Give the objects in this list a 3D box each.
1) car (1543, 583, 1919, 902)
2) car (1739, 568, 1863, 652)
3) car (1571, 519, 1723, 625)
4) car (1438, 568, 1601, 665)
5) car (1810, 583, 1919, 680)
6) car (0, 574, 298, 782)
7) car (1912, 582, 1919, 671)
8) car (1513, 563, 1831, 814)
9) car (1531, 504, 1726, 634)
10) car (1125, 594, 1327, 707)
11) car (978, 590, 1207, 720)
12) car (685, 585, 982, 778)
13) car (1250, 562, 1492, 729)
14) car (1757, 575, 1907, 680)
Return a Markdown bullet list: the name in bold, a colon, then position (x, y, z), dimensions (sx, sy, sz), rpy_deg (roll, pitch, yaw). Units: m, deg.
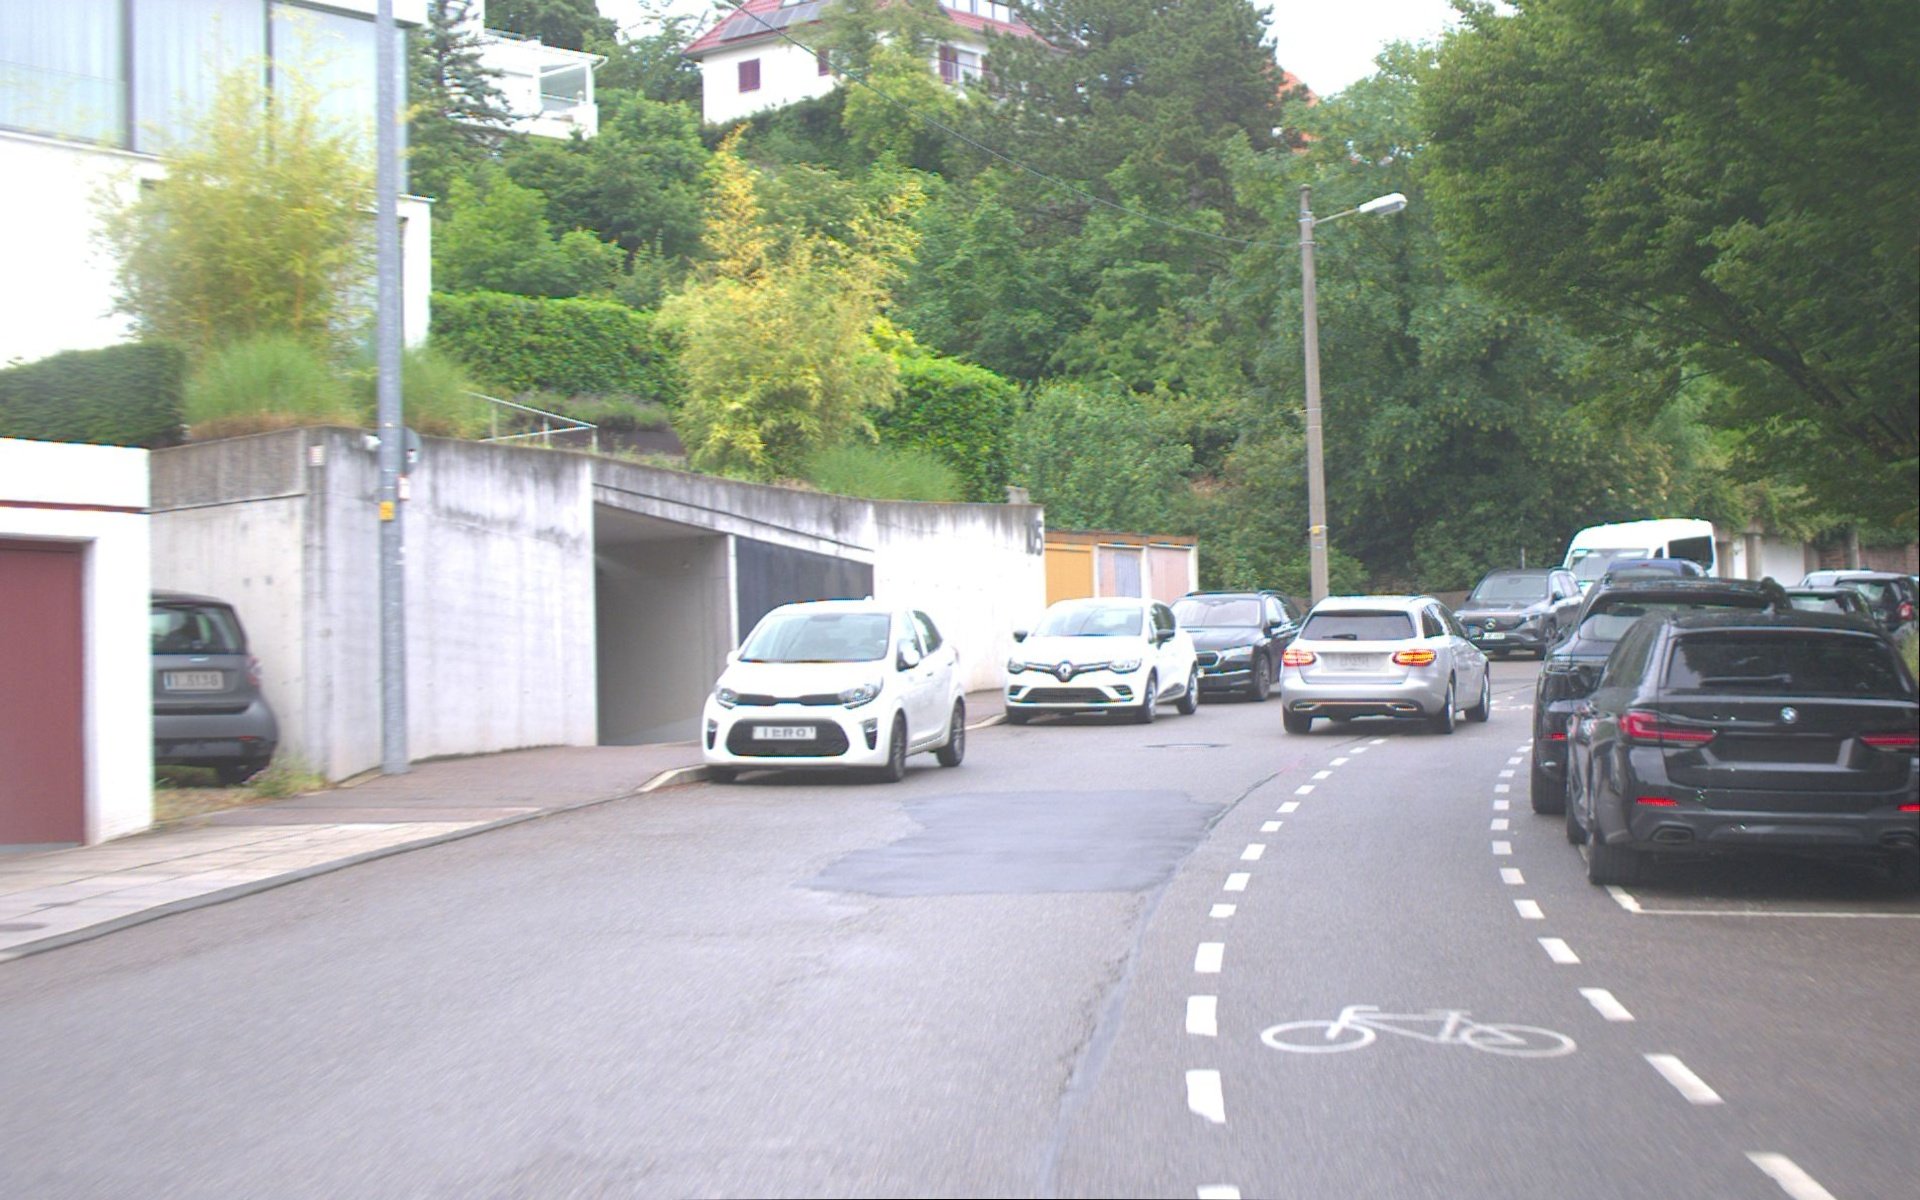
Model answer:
- **car**: position (4.390, 0.698, 19.493), dimensions (1.855, 1.575, 4.856), rpy_deg (0, 0, 6)
- **car**: position (17.501, 0.200, 71.424), dimensions (1.996, 1.702, 3.995), rpy_deg (0, 0, 21)
- **car**: position (11.522, -0.462, 57.480), dimensions (1.995, 1.702, 3.996), rpy_deg (0, 0, 19)
- **car**: position (10.482, 0.284, 64.151), dimensions (1.898, 1.685, 4.540), rpy_deg (-1, 0, 23)
- **car**: position (15.359, 0.505, 57.689), dimensions (1.628, 1.557, 3.018), rpy_deg (0, 1, 24)
- **car**: position (-7.240, 0.565, 27.392), dimensions (3.928, 1.473, 1.764), rpy_deg (2, 1, 40)
- **car**: position (18.000, 0.446, 60.760), dimensions (1.656, 1.514, 3.995), rpy_deg (1, 1, 24)
- **car**: position (5.357, 0.569, 25.349), dimensions (2.055, 1.650, 5.232), rpy_deg (0, 0, 14)
- **car**: position (13.885, -0.683, 71.123), dimensions (2.097, 2.541, 6.087), rpy_deg (-1, 1, 29)
- **car**: position (3.727, 0.668, 47.457), dimensions (1.714, 1.454, 4.678), rpy_deg (-1, 0, 18)
- **car**: position (1.634, 0.622, 40.984), dimensions (1.833, 1.435, 4.037), rpy_deg (-1, 0, 15)
- **car**: position (-1.011, 0.649, 29.430), dimensions (1.628, 1.510, 3.830), rpy_deg (-1, 0, 12)
- **car**: position (4.524, 0.460, 37.348), dimensions (2.026, 1.702, 4.212), rpy_deg (0, 0, 15)
- **car**: position (13.069, 0.383, 51.413), dimensions (1.670, 1.466, 3.706), rpy_deg (1, 1, 22)
